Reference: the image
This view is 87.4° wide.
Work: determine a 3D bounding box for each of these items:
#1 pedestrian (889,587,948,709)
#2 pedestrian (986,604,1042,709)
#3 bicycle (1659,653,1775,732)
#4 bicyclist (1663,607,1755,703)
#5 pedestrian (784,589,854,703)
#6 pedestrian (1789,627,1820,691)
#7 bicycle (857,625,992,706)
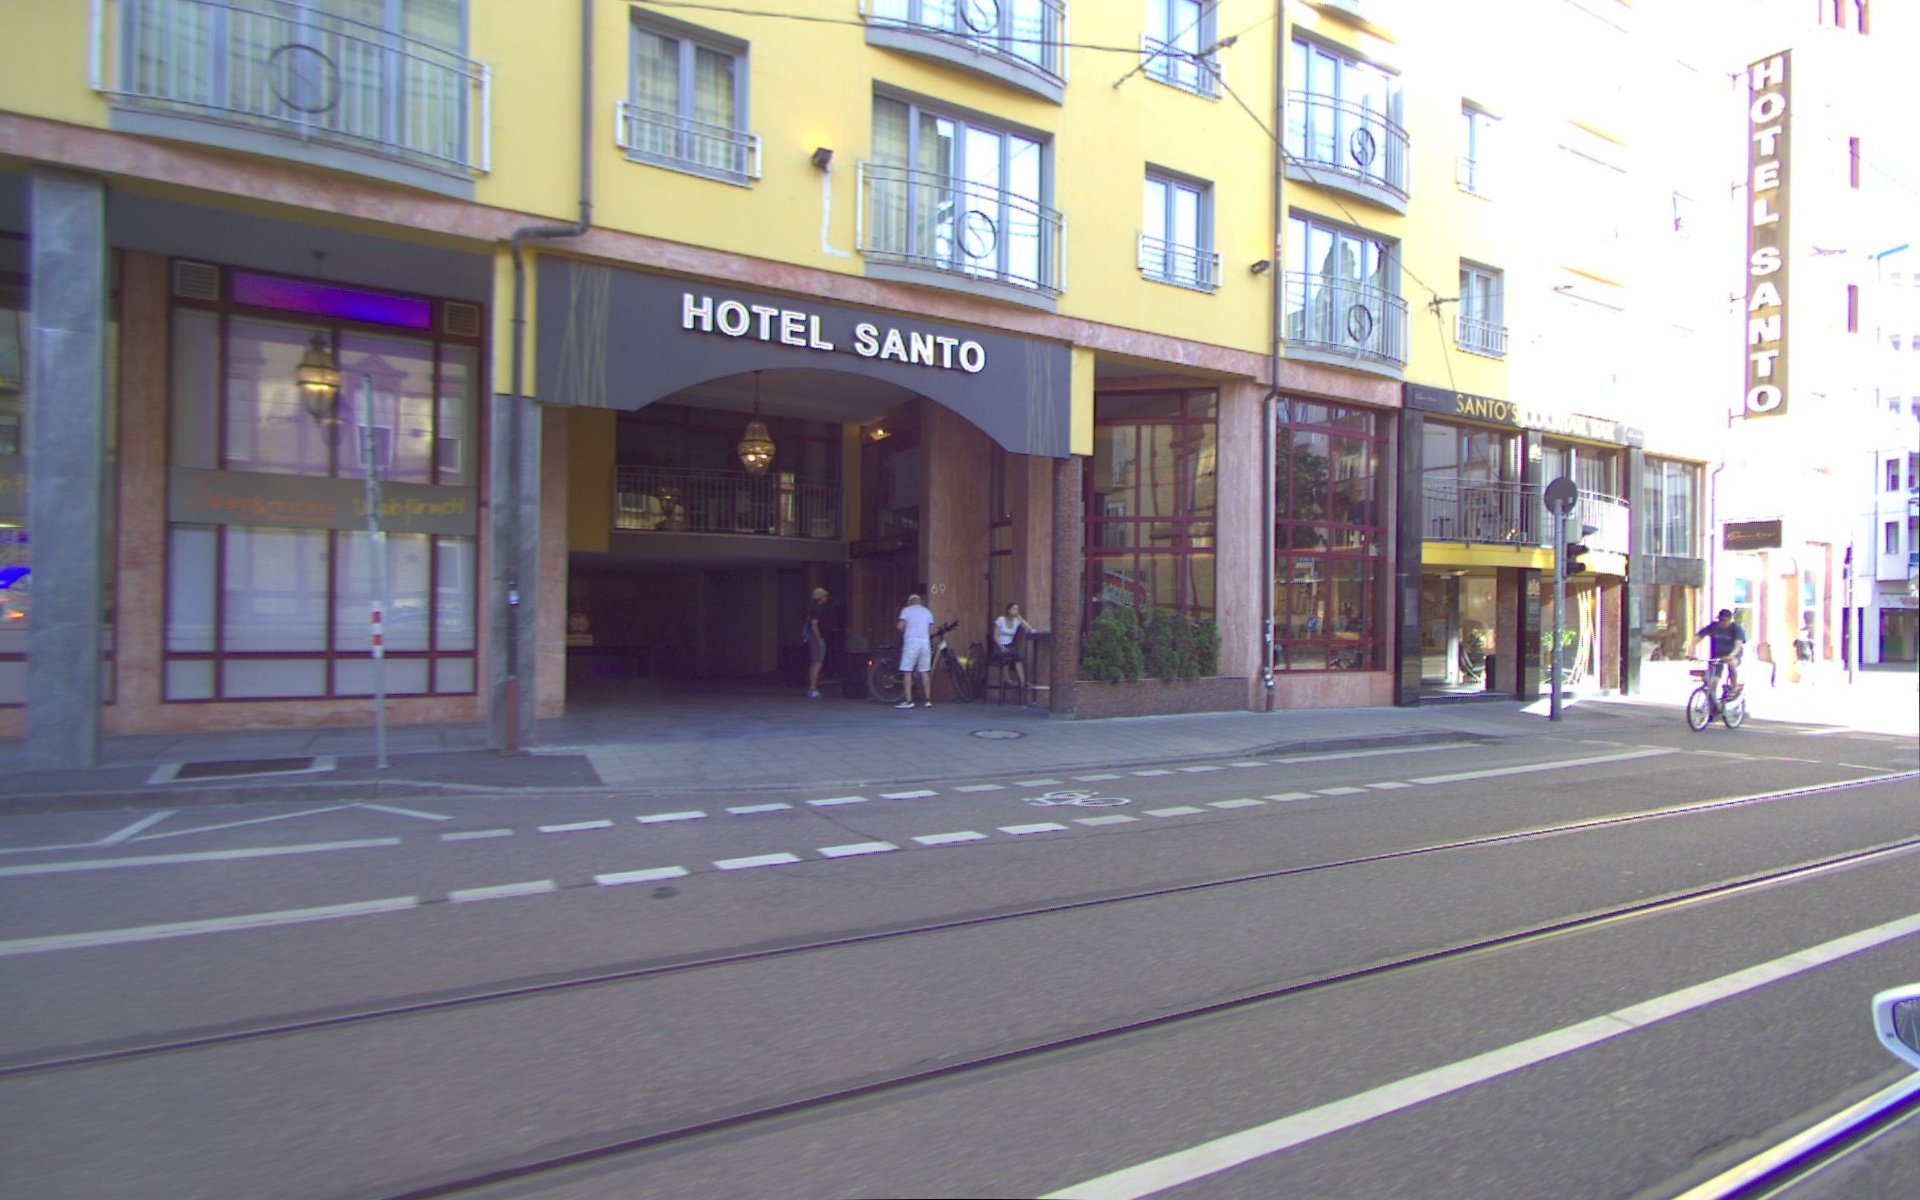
[{"bbox_3d":[-0.625,0.712,15.144,0.713,1.793,0.559,1,-1,-25],"label":"pedestrian"},{"bbox_3d":[0.823,0.851,15.473,0.593,1.568,0.703,1,-1,-25],"label":"pedestrian"},{"bbox_3d":[11.679,1.391,15.488,2.038,1.102,0.727,1,-1,-31],"label":"bicycle"},{"bbox_3d":[11.473,0.821,15.385,1.214,1.399,0.720,1,-1,-31],"label":"bicyclist"},{"bbox_3d":[-2.287,0.731,16.257,0.943,1.793,0.705,1,-1,-25],"label":"pedestrian"},{"bbox_3d":[19.196,1.338,22.836,0.510,1.429,0.402,1,-1,-31],"label":"pedestrian"},{"bbox_3d":[-0.546,1.012,15.833,2.052,1.219,0.580,1,-1,-25],"label":"bicycle"}]
